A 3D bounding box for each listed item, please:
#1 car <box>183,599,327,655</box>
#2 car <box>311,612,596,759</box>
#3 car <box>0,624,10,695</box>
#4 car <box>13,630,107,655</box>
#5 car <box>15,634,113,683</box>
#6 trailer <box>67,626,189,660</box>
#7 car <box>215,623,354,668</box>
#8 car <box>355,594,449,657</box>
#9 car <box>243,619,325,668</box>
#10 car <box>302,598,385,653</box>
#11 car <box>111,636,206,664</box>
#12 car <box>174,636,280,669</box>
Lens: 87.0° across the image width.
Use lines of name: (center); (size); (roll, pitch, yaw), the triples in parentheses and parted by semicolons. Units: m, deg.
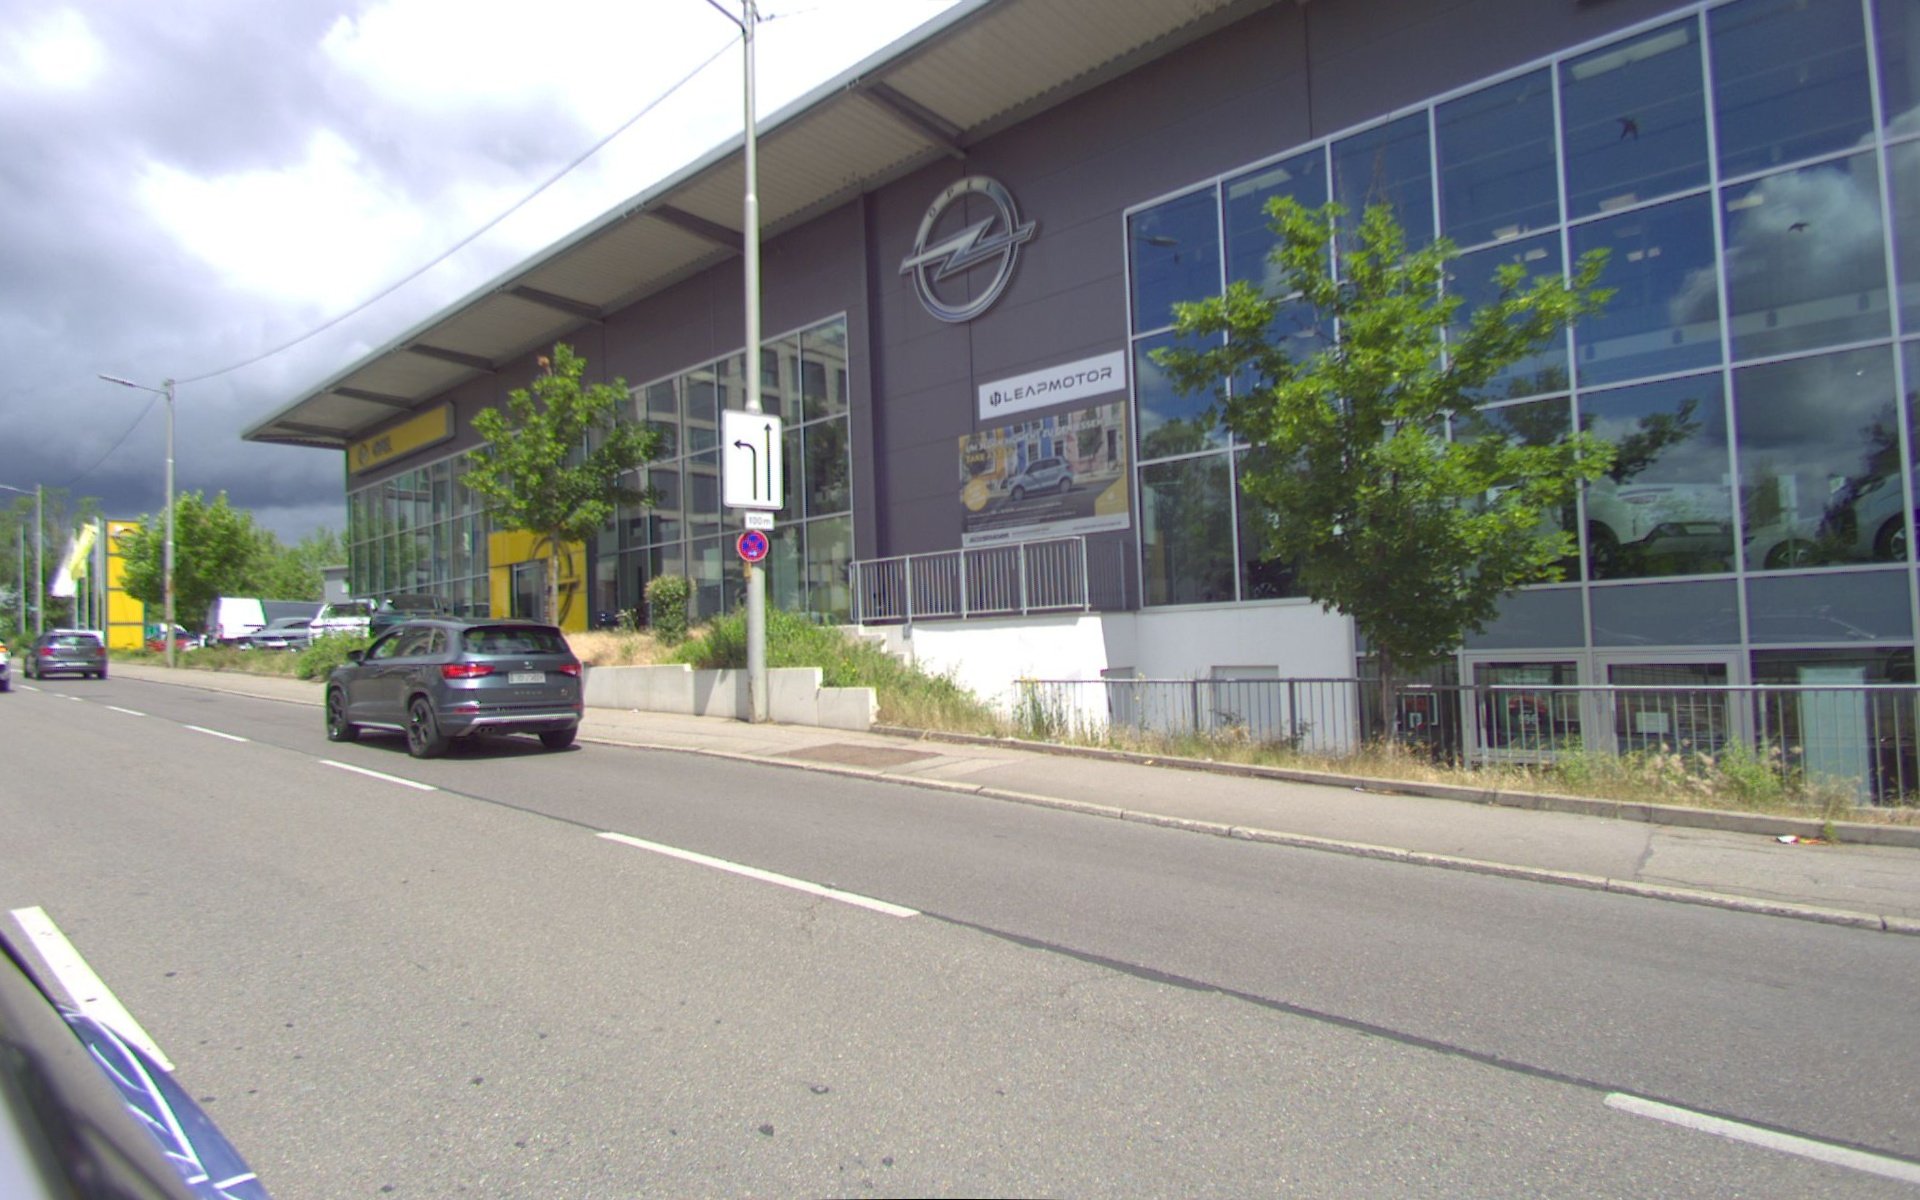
car: (-29.168, 1.095, 41.954); (2.177, 2.211, 4.475); (-1, -2, 39)
car: (-6.338, 0.938, 12.494); (3.955, 1.533, 1.741); (-1, -2, 40)
car: (-24.147, 1.410, 24.019); (4.413, 1.625, 1.899); (-2, -2, 41)
car: (-57.684, 2.710, 64.924); (2.093, 1.493, 4.200); (-2, -2, 38)
car: (-27.605, 1.773, 31.148); (3.732, 1.424, 1.740); (-2, -4, 41)
trailer: (-45.306, 2.301, 55.204); (2.092, 1.765, 4.776); (-2, -2, 37)
car: (-25.714, 1.696, 38.658); (1.792, 1.625, 4.064); (-2, -2, 32)
car: (-15.679, 0.731, 28.622); (1.790, 1.625, 4.122); (0, -2, -21)
car: (-23.443, 1.491, 35.238); (1.767, 1.625, 4.122); (1, -2, -26)
car: (-19.285, 0.788, 31.809); (1.767, 1.625, 4.122); (0, -1, -25)
car: (-42.002, 2.605, 53.081); (1.814, 1.420, 3.621); (-2, -3, 42)
car: (-35.572, 2.520, 49.198); (1.559, 1.539, 3.897); (-2, -2, 38)
